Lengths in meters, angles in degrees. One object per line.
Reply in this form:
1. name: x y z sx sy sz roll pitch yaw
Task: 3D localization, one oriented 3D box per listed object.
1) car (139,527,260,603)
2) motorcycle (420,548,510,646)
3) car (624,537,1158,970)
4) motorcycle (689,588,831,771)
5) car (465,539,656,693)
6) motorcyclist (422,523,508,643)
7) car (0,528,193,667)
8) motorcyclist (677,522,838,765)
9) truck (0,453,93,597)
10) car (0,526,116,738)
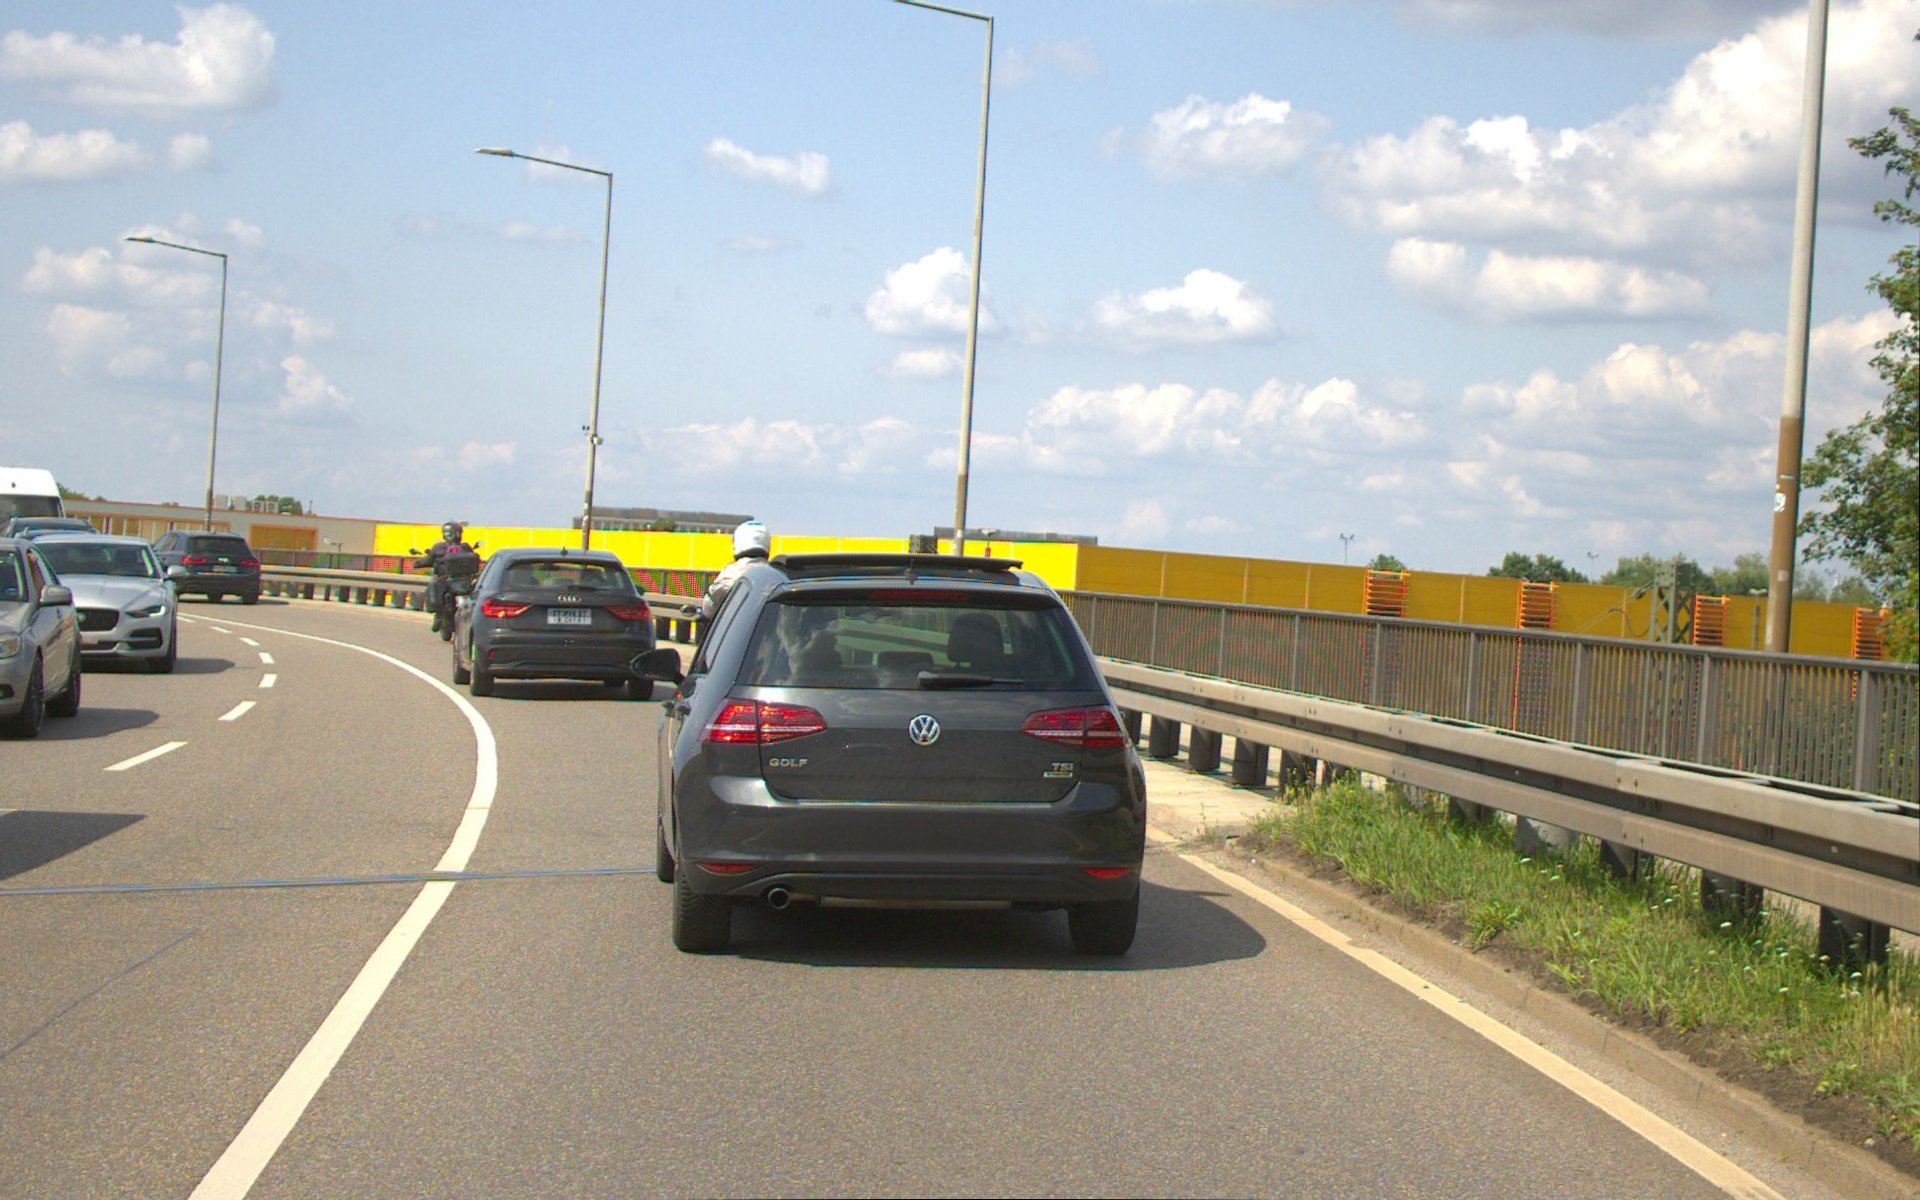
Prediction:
1. car: -15.586 -0.732 70.360 1.642 1.474 3.873 2 0 -24
2. motorcycle: -6.772 -0.057 46.946 0.887 1.243 2.400 2 1 -15
3. car: -0.421 0.521 13.957 1.642 1.474 3.873 2 0 -8
4. motorcycle: -1.404 0.517 23.701 0.789 1.128 2.400 2 1 -7
5. car: -3.936 0.148 33.463 1.681 1.383 3.740 1 0 -9
6. motorcyclist: -6.789 -0.239 47.080 0.965 1.590 1.125 2 0 -15
7. car: -9.290 -0.069 37.259 1.793 1.370 4.582 2 1 -12
8. motorcyclist: -1.418 0.288 23.879 0.965 1.615 1.125 2 0 -8
9. truck: -17.636 -1.407 63.069 1.993 2.499 5.949 1 1 -28
10. car: -7.500 0.172 25.564 1.747 1.444 4.338 1 1 -6
